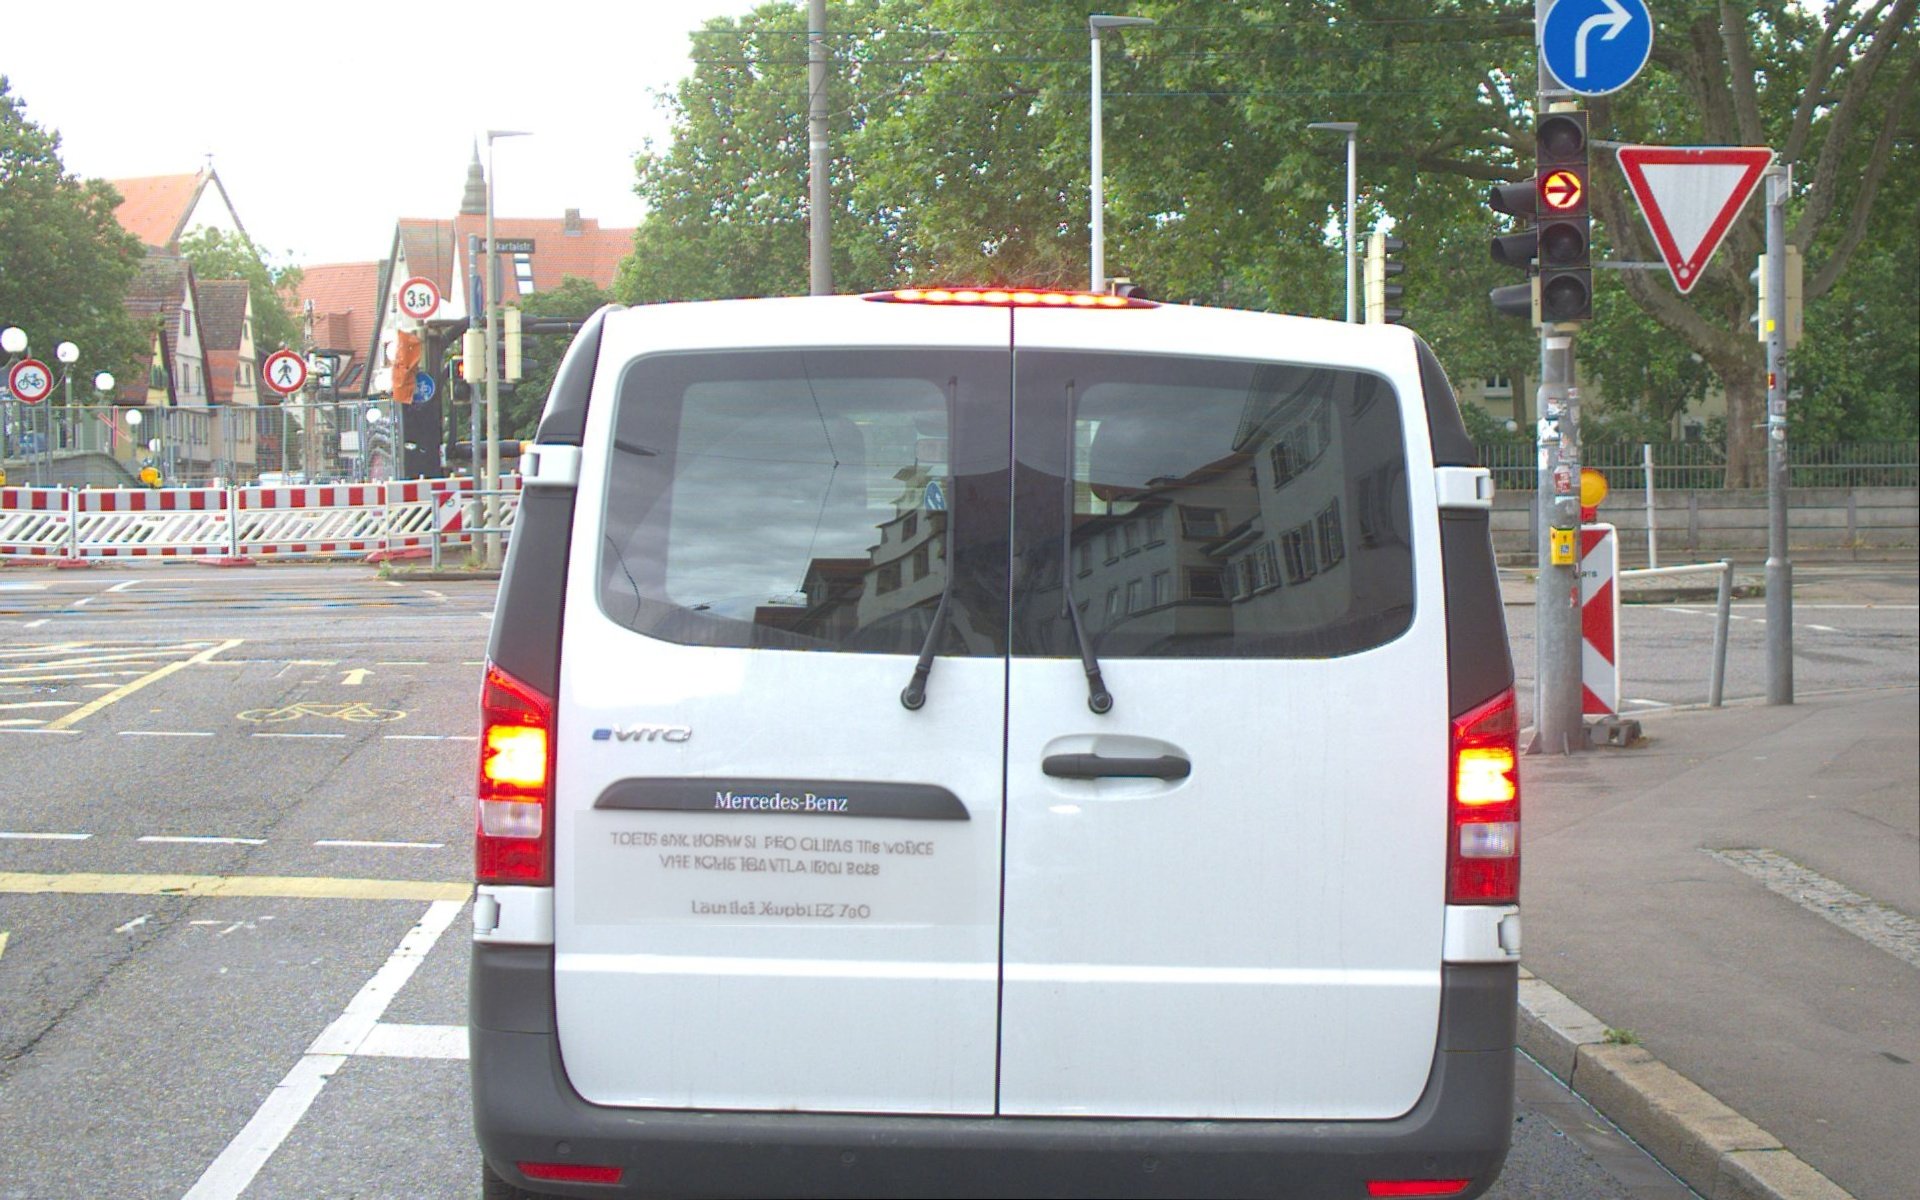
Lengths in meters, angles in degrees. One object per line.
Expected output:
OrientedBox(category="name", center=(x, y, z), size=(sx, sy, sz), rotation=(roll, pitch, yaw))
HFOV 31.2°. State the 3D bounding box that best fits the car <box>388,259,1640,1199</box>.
OrientedBox(category="car", center=(-0.014, 0.321, 7.640), size=(1.993, 1.916, 4.250), rotation=(0, 3, -3))
